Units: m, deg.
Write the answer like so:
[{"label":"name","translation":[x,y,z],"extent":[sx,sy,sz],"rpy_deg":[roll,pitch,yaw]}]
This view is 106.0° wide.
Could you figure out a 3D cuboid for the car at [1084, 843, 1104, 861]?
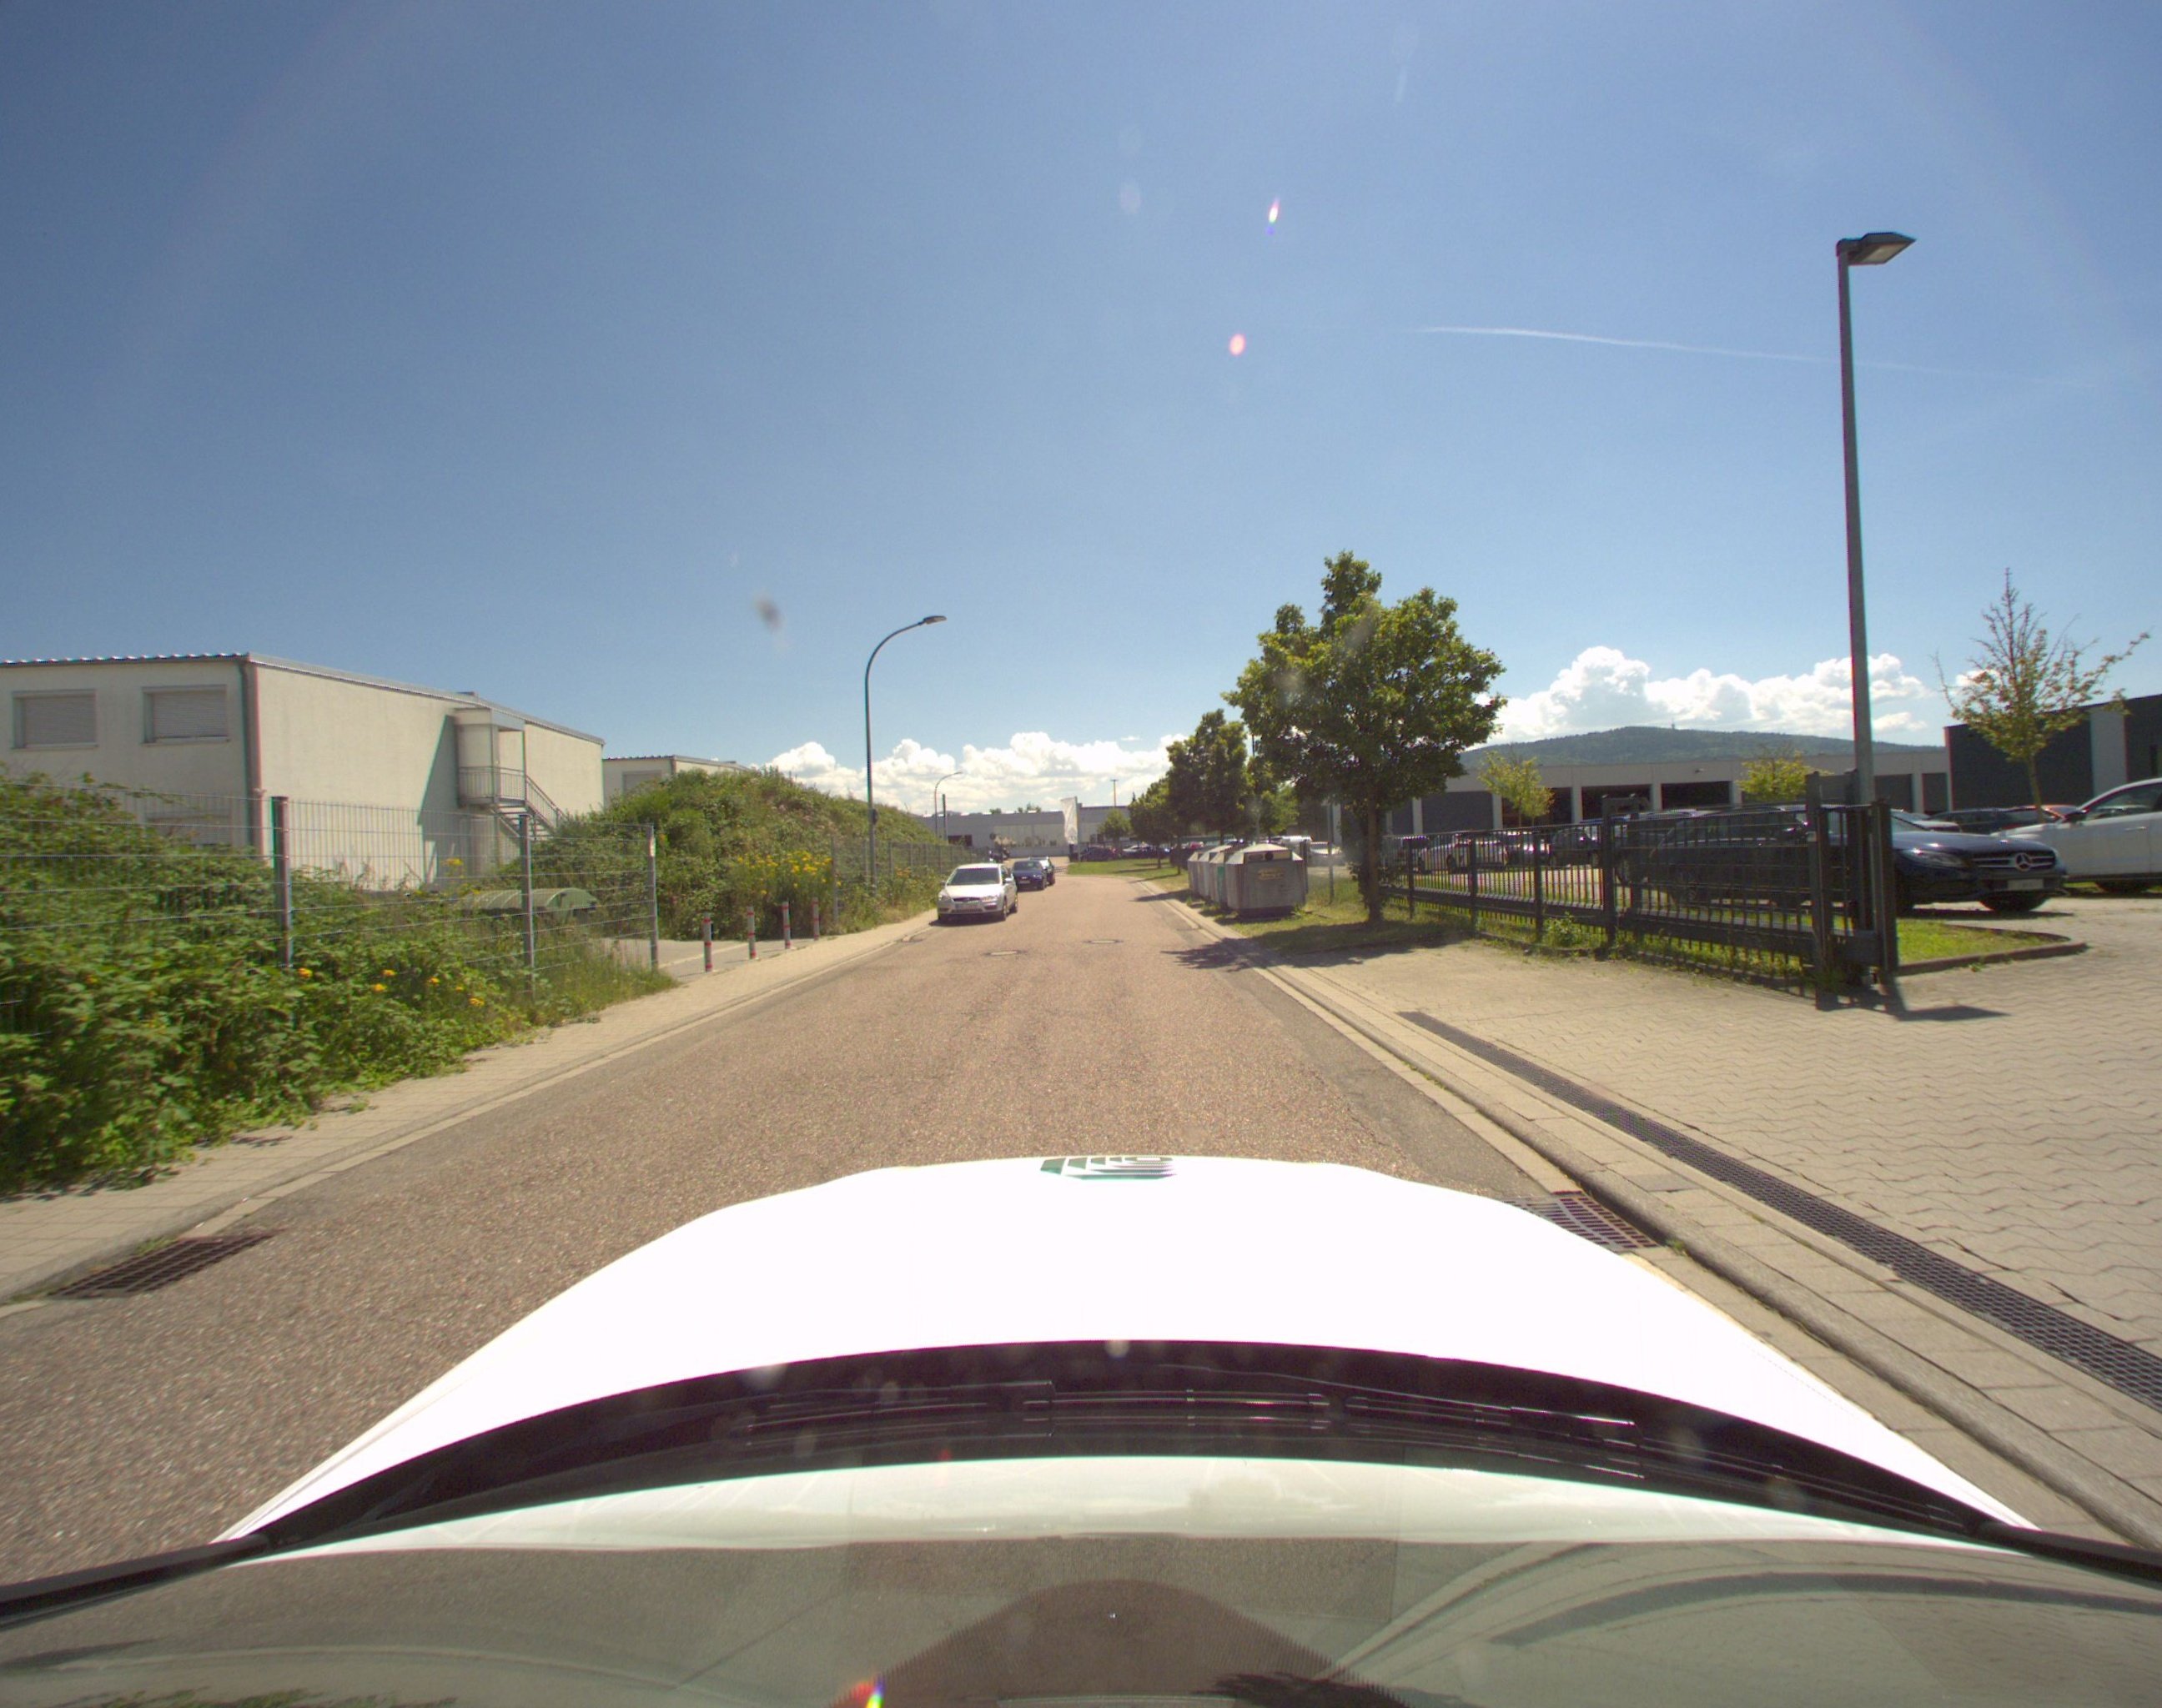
[{"label":"car","translation":[1.449,-0.177,91.949],"extent":[1.988,1.827,3.998],"rpy_deg":[-2,-2,-1]}]

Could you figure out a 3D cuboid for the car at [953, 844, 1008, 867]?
[{"label":"car","translation":[-10.239,0.137,83.488],"extent":[5.300,2.097,2.000],"rpy_deg":[-3,0,0]}]

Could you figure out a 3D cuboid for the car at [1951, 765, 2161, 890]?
[{"label":"car","translation":[15.246,-0.387,11.023],"extent":[1.834,1.653,4.647],"rpy_deg":[-2,-2,-1]}]

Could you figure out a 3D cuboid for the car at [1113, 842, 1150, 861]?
[{"label":"car","translation":[5.566,-0.230,90.251],"extent":[3.975,1.827,1.999],"rpy_deg":[-2,-2,-1]}]

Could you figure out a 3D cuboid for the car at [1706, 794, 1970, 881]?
[{"label":"car","translation":[15.165,-0.362,16.660],"extent":[1.641,1.491,4.022],"rpy_deg":[-2,2,-1]}]

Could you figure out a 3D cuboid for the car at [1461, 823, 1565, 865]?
[{"label":"car","translation":[17.280,-0.436,32.856],"extent":[1.784,1.481,4.421],"rpy_deg":[-2,2,-1]}]

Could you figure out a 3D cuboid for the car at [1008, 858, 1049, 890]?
[{"label":"car","translation":[-2.513,0.942,39.717],"extent":[1.651,1.417,4.144],"rpy_deg":[-3,0,0]}]

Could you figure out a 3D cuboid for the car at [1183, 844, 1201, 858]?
[{"label":"car","translation":[15.521,-0.403,113.845],"extent":[1.986,1.827,4.000],"rpy_deg":[-3,-2,1]}]

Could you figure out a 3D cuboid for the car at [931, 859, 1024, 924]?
[{"label":"car","translation":[-2.746,0.948,22.560],"extent":[1.827,1.546,4.368],"rpy_deg":[-3,0,2]}]

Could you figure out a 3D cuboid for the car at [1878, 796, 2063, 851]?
[{"label":"car","translation":[30.248,-0.988,27.908],"extent":[1.784,1.516,4.098],"rpy_deg":[-2,-2,-1]}]

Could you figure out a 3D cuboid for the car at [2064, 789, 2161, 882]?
[{"label":"car","translation":[17.576,-0.363,11.434],"extent":[1.834,1.433,4.647],"rpy_deg":[-2,-2,-1]}]

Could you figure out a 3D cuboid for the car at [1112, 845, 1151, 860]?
[{"label":"car","translation":[5.340,-0.135,86.654],"extent":[3.975,1.398,1.999],"rpy_deg":[-2,-2,-1]}]

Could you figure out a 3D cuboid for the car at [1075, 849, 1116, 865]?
[{"label":"car","translation":[1.425,0.315,82.026],"extent":[3.975,1.398,1.999],"rpy_deg":[-2,-2,-1]}]

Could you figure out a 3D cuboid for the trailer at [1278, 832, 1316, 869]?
[{"label":"trailer","translation":[12.991,-0.238,49.107],"extent":[1.487,2.006,3.267],"rpy_deg":[-3,2,3]}]

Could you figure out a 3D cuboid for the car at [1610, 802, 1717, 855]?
[{"label":"car","translation":[32.726,-1.373,46.009],"extent":[1.875,2.478,5.501],"rpy_deg":[-3,-3,-2]}]

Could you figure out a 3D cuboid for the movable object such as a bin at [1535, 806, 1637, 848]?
[{"label":"movable object such as a bin","translation":[40.033,-2.069,64.933],"extent":[3.529,2.994,7.318],"rpy_deg":[-3,0,0]}]

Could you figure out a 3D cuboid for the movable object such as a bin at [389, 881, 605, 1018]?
[{"label":"movable object such as a bin","translation":[-7.221,1.123,10.234],"extent":[1.298,1.477,1.839],"rpy_deg":[-2,0,2]}]

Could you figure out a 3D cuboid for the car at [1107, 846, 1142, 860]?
[{"label":"car","translation":[5.085,-0.054,95.584],"extent":[3.975,1.398,1.999],"rpy_deg":[-2,-2,-1]}]

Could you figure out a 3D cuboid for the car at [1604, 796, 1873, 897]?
[{"label":"car","translation":[12.498,-0.193,15.912],"extent":[1.784,1.623,4.240],"rpy_deg":[-2,2,-1]}]

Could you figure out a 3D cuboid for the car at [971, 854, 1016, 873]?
[{"label":"car","translation":[-9.936,1.092,92.917],"extent":[4.867,1.922,2.000],"rpy_deg":[-3,0,0]}]

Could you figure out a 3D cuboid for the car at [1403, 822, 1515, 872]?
[{"label":"car","translation":[12.666,-0.169,27.616],"extent":[1.784,1.433,4.140],"rpy_deg":[-2,-2,-1]}]

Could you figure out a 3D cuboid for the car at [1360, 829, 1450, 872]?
[{"label":"car","translation":[12.872,-0.188,32.693],"extent":[1.784,1.531,4.421],"rpy_deg":[-2,2,-1]}]

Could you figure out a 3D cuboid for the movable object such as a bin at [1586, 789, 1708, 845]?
[{"label":"movable object such as a bin","translation":[44.835,-2.795,64.967],"extent":[3.529,3.974,8.665],"rpy_deg":[-3,0,0]}]

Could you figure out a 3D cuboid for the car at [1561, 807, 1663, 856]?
[{"label":"car","translation":[29.876,-1.170,46.094],"extent":[1.875,2.263,5.652],"rpy_deg":[-3,-3,-2]}]

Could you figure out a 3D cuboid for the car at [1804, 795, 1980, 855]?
[{"label":"car","translation":[27.344,-0.913,27.672],"extent":[1.784,1.682,4.098],"rpy_deg":[-2,-2,-1]}]

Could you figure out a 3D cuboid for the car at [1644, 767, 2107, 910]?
[{"label":"car","translation":[9.991,-0.092,10.884],"extent":[1.784,1.455,4.407],"rpy_deg":[-2,-2,-1]}]

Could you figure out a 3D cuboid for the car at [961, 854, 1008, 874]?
[{"label":"car","translation":[-10.499,1.128,88.799],"extent":[4.867,1.922,2.000],"rpy_deg":[-3,0,0]}]

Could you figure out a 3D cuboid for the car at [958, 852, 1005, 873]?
[{"label":"car","translation":[-10.521,0.877,86.089],"extent":[4.571,1.922,2.000],"rpy_deg":[-3,0,0]}]

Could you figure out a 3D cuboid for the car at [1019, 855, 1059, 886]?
[{"label":"car","translation":[-2.267,0.852,44.892],"extent":[1.827,1.546,4.266],"rpy_deg":[-3,0,2]}]

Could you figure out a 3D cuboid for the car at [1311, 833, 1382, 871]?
[{"label":"car","translation":[12.960,-0.050,40.068],"extent":[1.875,1.523,4.465],"rpy_deg":[-3,-3,-2]}]

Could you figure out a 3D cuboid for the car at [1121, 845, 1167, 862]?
[{"label":"car","translation":[6.331,-0.017,81.828],"extent":[4.425,1.398,1.999],"rpy_deg":[-2,-2,-1]}]
